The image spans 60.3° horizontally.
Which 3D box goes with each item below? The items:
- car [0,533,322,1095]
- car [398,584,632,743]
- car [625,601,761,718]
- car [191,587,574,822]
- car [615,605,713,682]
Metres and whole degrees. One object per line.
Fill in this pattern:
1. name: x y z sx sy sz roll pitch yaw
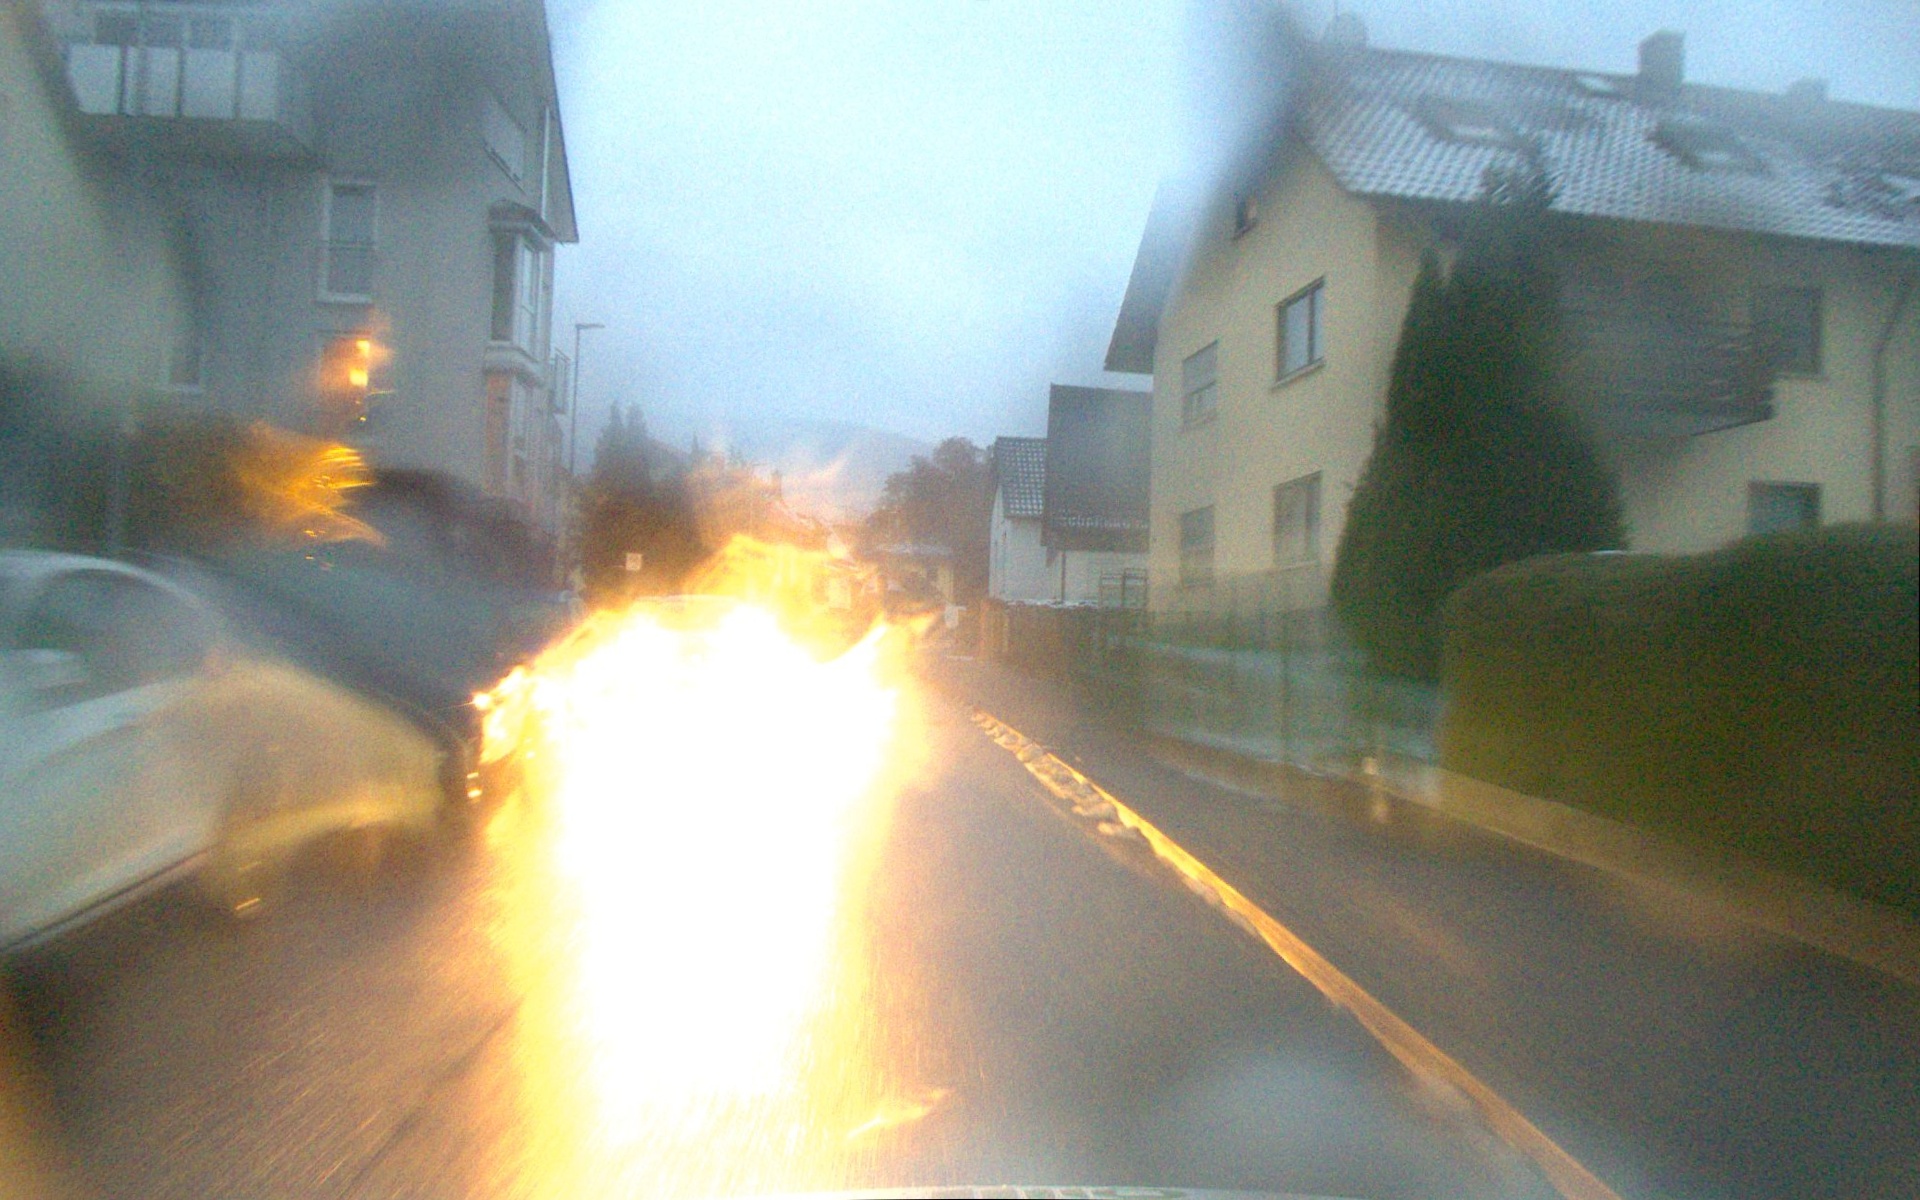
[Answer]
1. car: -3.816 0.621 5.591 1.880 1.652 4.418 1 0 -5
2. car: -4.638 0.610 17.836 1.700 1.469 4.434 1 0 -6
3. car: -3.922 0.784 23.832 1.742 1.521 4.367 1 0 -12
4. car: -4.077 0.663 12.364 1.700 1.461 4.031 1 0 -5
5. car: -6.142 0.880 34.620 1.632 1.442 3.686 3 -1 -5
